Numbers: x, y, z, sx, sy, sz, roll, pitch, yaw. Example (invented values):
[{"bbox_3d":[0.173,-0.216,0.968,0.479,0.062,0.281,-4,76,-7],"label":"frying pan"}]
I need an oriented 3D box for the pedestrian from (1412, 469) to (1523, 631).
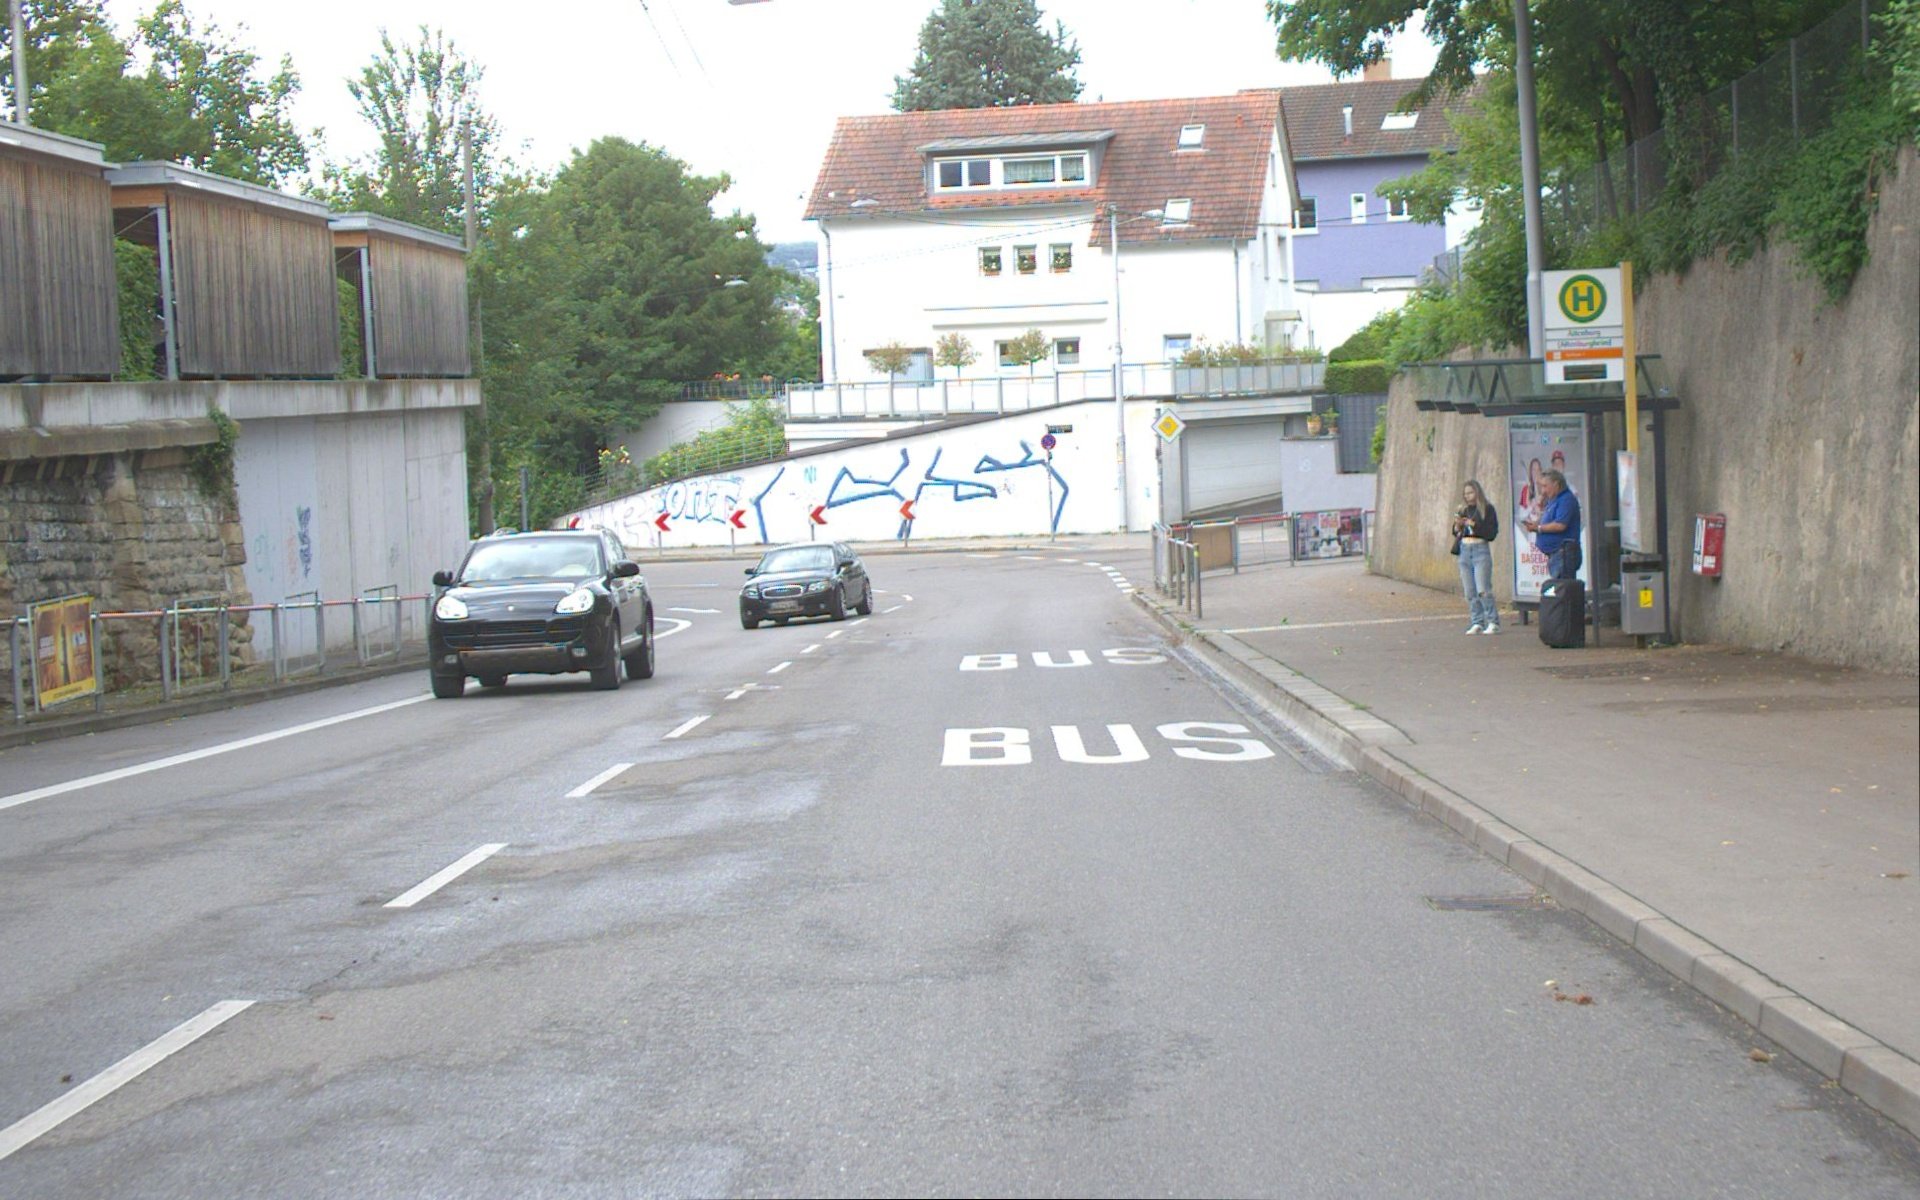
[{"bbox_3d":[5.186,-0.510,35.123,0.737,1.582,0.771,-2,3,42],"label":"pedestrian"}]

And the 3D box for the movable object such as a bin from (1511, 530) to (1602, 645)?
[{"bbox_3d":[5.567,-0.122,32.085,0.674,1.016,0.627,-2,2,-4],"label":"movable object such as a bin"}]

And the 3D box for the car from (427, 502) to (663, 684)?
[{"bbox_3d":[-4.360,-0.111,36.752,1.894,1.750,4.437,-2,1,0],"label":"car"}]

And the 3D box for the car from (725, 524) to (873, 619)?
[{"bbox_3d":[-2.803,-0.525,60.612,1.735,1.527,3.999,-2,1,10],"label":"car"}]

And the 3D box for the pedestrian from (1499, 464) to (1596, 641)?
[{"bbox_3d":[5.596,-0.454,32.776,0.721,1.637,0.631,-2,1,-4],"label":"pedestrian"}]
